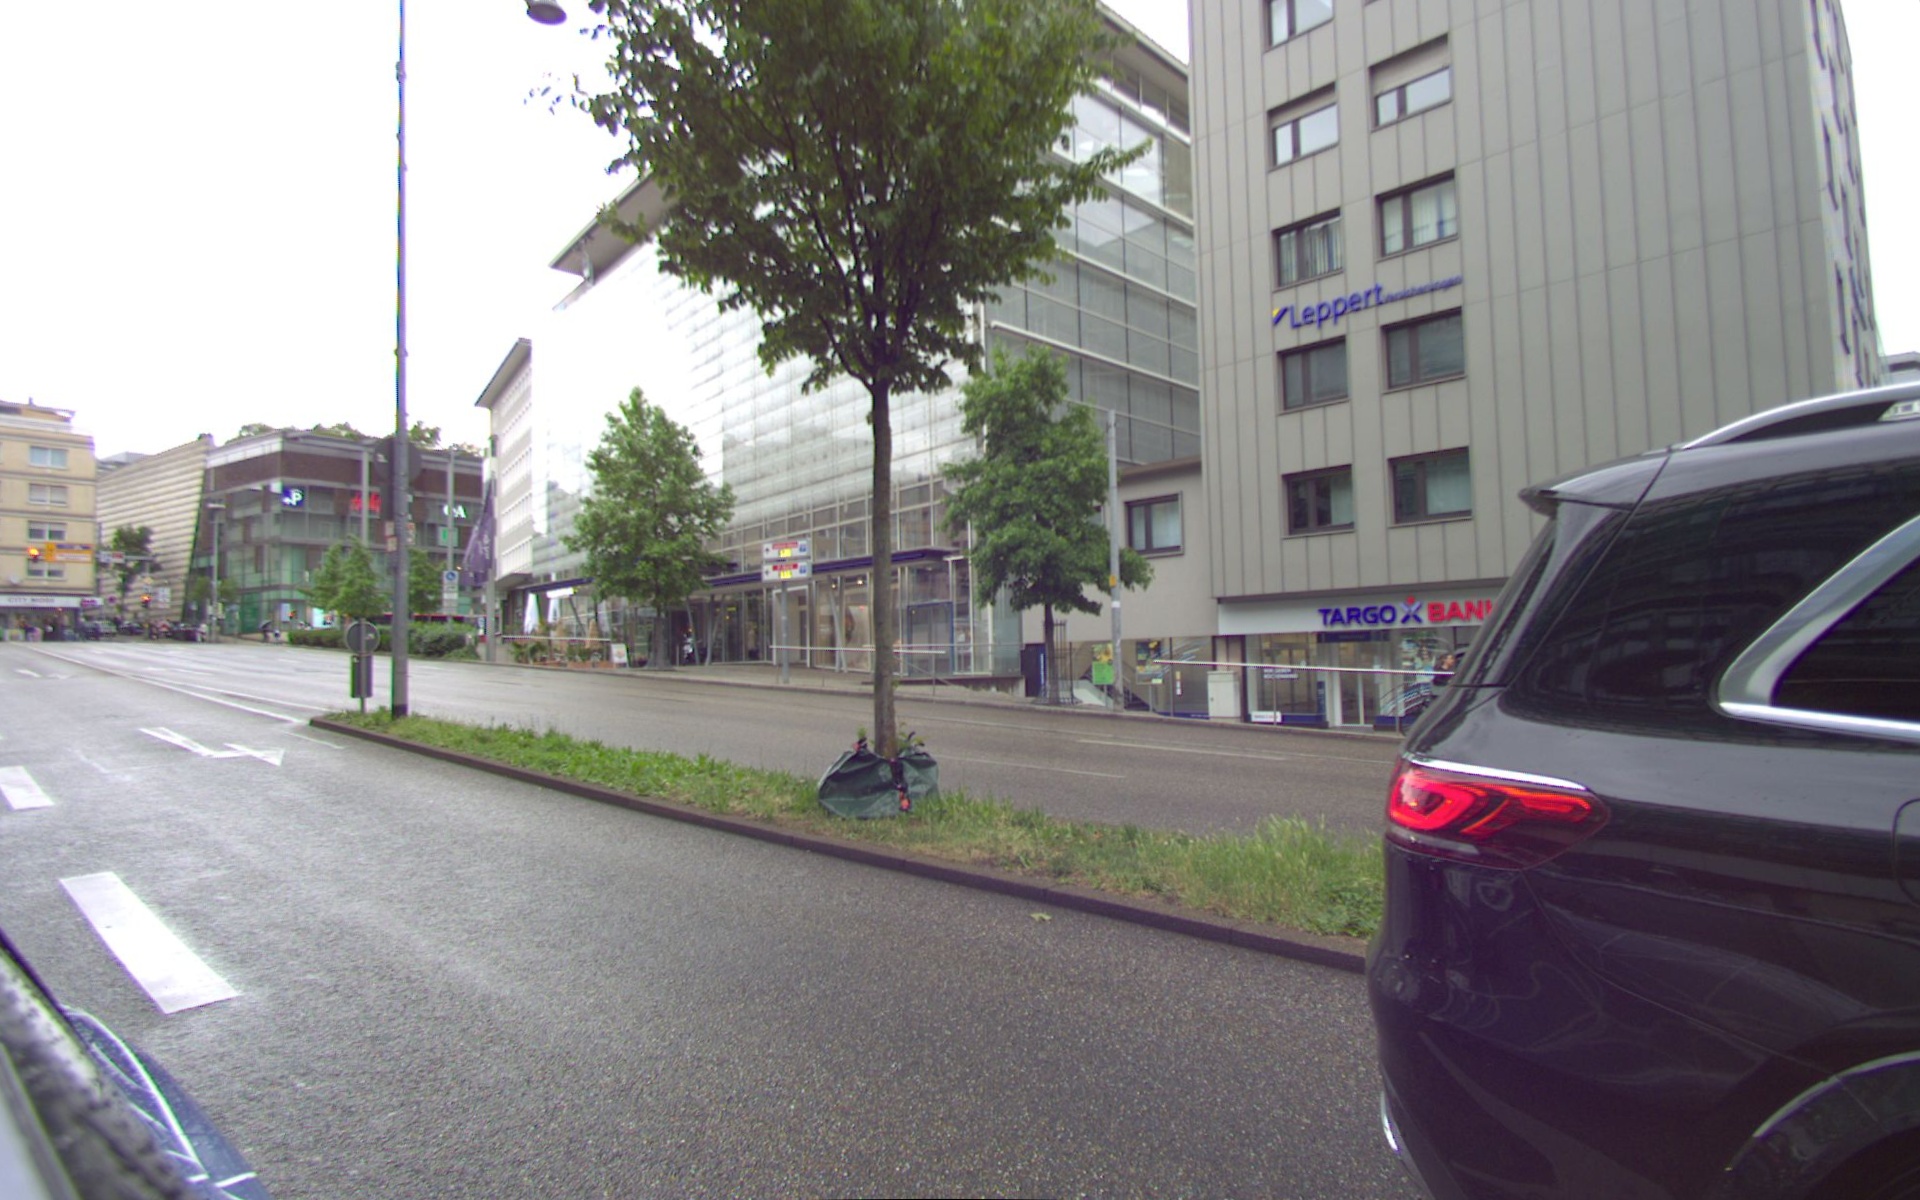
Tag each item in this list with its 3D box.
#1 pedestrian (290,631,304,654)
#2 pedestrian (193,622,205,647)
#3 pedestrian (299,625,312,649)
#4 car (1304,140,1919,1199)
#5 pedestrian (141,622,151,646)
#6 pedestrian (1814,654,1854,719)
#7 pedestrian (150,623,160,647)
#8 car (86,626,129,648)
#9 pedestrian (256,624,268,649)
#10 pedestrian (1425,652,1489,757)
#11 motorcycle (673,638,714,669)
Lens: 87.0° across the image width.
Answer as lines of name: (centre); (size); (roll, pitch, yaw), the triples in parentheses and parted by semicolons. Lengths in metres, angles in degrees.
pedestrian: (-47.702, 3.075, 72.792); (0.602, 1.642, 0.625); (-1, -3, 42)
pedestrian: (-53.777, 2.424, 71.479); (0.617, 1.788, 0.689); (0, 0, -43)
pedestrian: (-46.705, 2.643, 72.212); (0.603, 1.642, 0.625); (-1, -3, 44)
car: (3.116, 0.384, 0.799); (5.069, 1.884, 1.892); (0, 0, 40)
pedestrian: (-56.585, 2.350, 70.343); (0.602, 1.642, 0.422); (-1, -3, 44)
pedestrian: (24.013, 2.362, 27.823); (0.724, 1.710, 0.781); (0, -3, 34)
pedestrian: (-54.648, 2.359, 68.679); (0.603, 1.642, 0.422); (-1, -3, 45)
car: (-83.178, 3.627, 98.774); (4.575, 2.029, 1.977); (0, -2, 34)
pedestrian: (-50.748, 2.664, 73.577); (0.618, 1.788, 0.689); (0, 0, -45)
pedestrian: (8.297, 1.720, 16.901); (0.626, 1.649, 0.791); (0, 0, -41)
motorcycle: (-12.112, 2.430, 46.019); (0.620, 1.336, 1.685); (-1, -3, 41)
